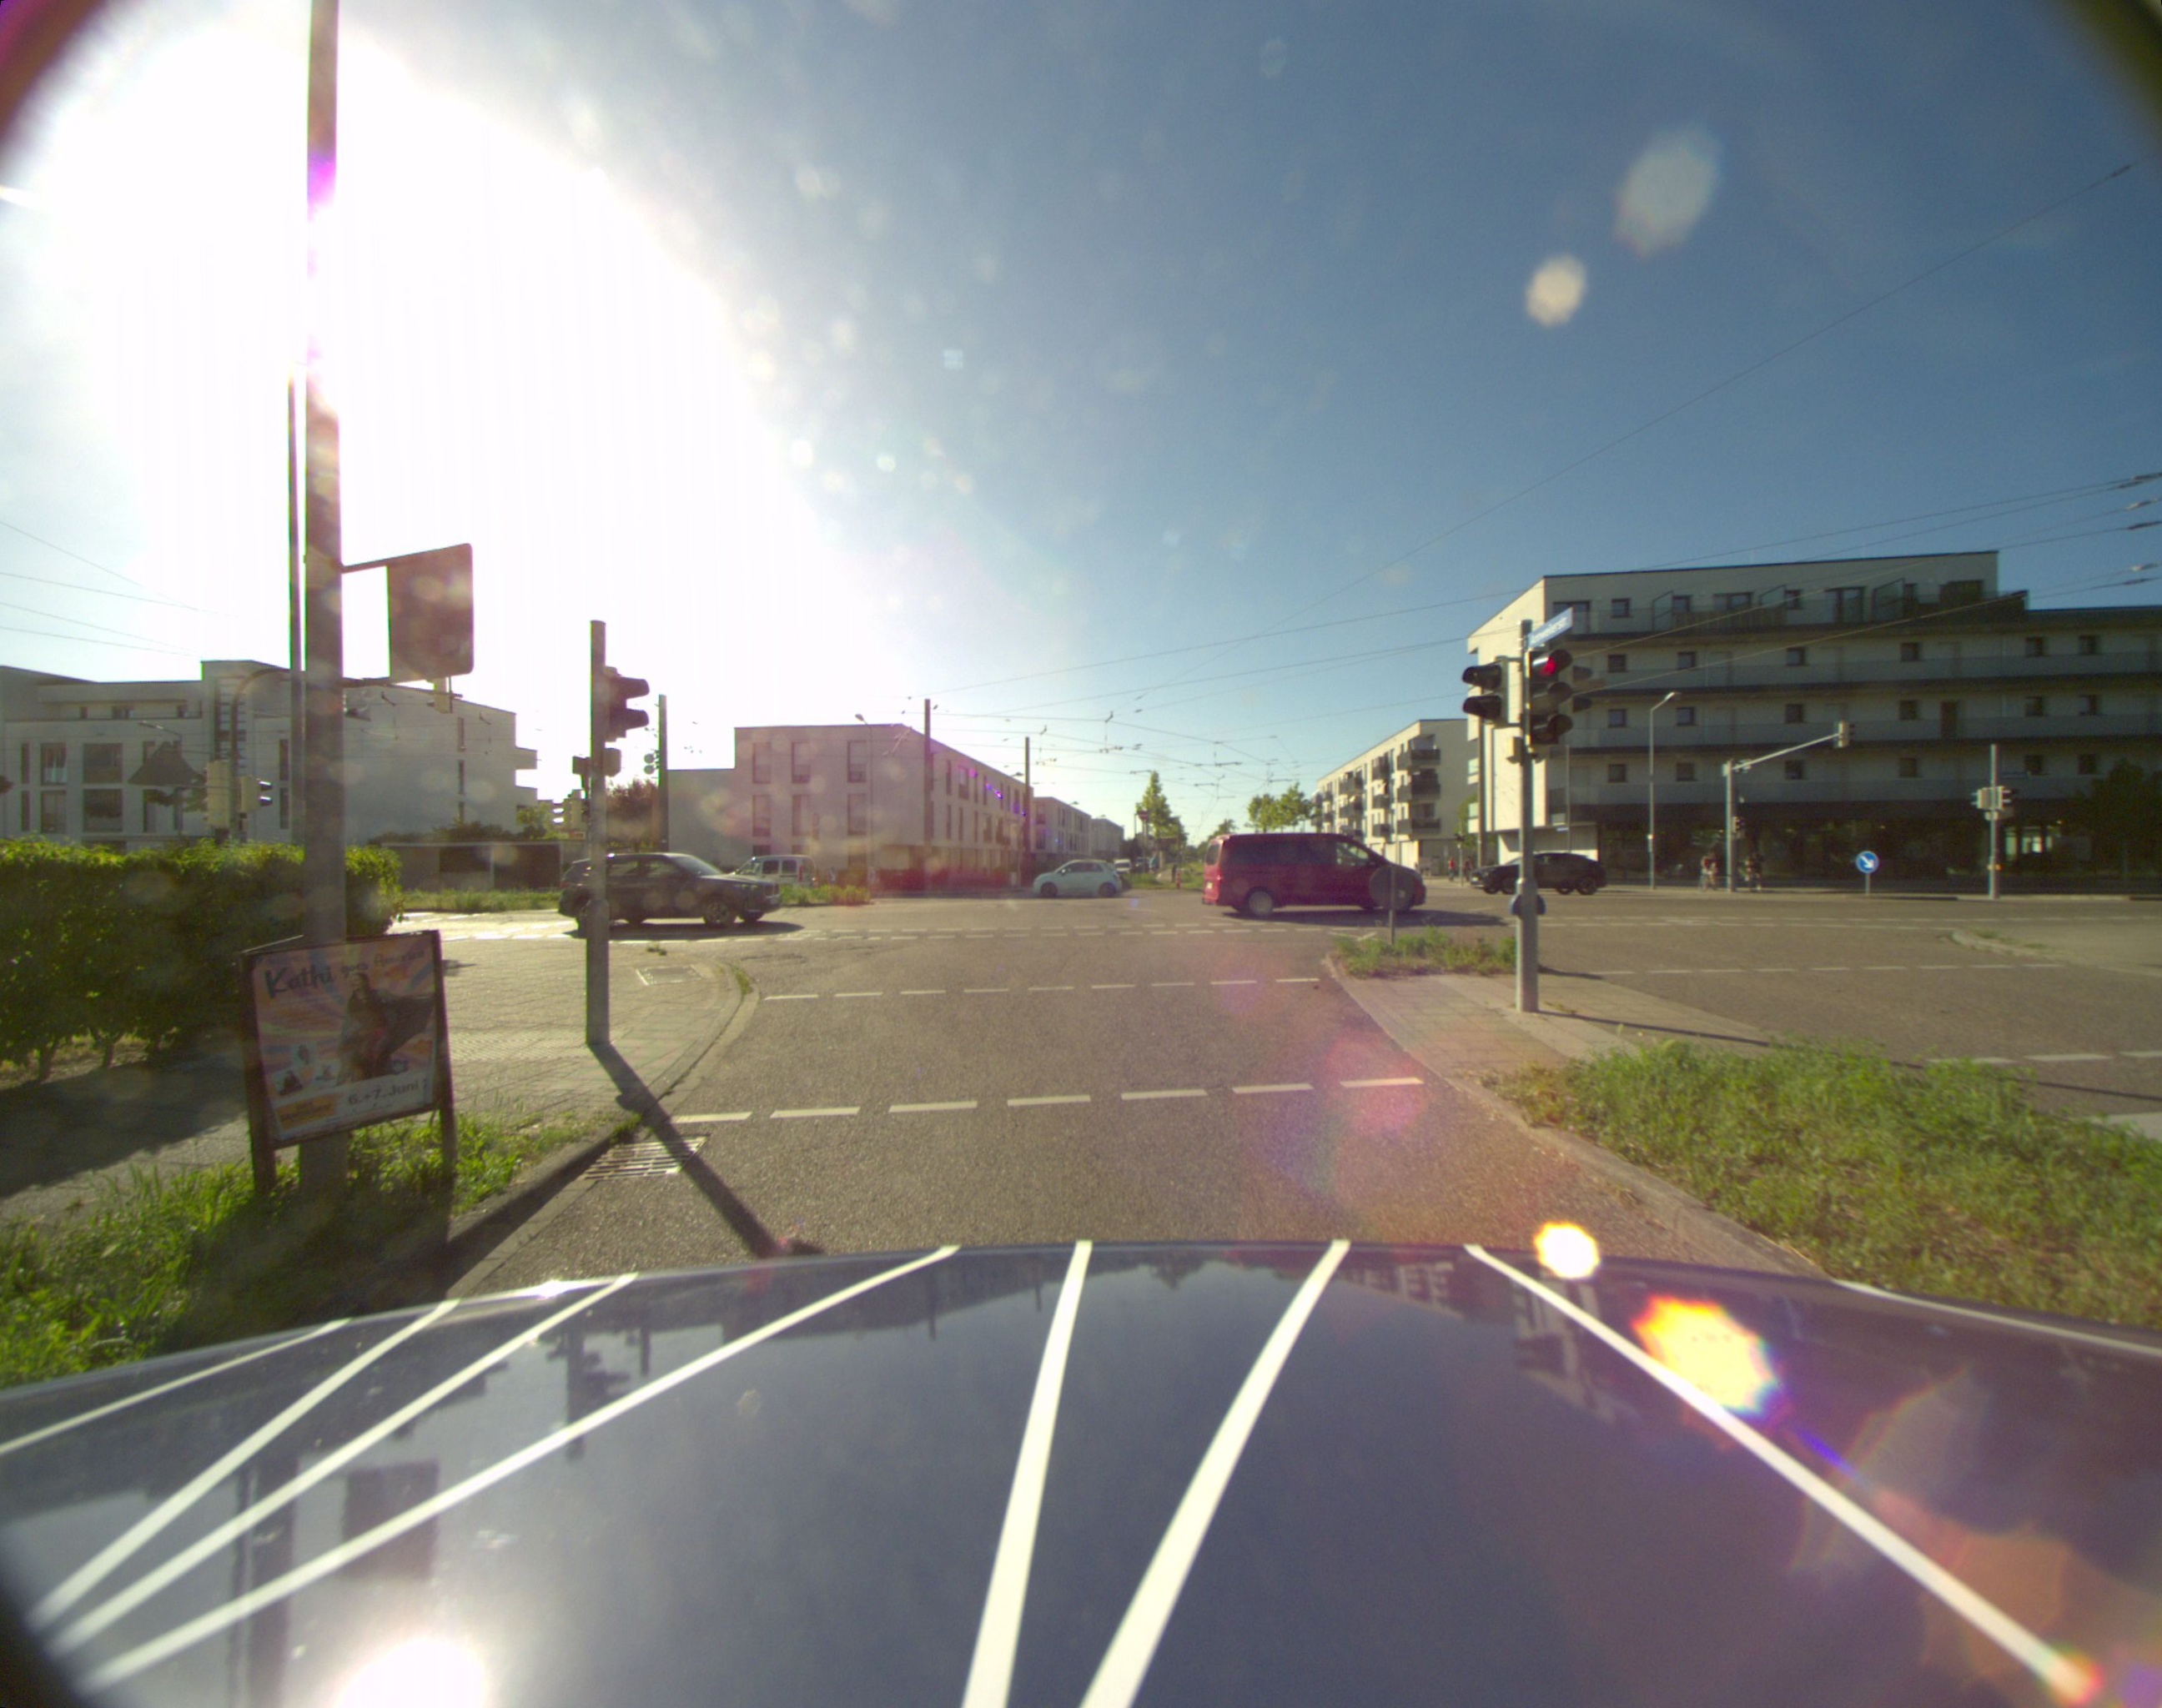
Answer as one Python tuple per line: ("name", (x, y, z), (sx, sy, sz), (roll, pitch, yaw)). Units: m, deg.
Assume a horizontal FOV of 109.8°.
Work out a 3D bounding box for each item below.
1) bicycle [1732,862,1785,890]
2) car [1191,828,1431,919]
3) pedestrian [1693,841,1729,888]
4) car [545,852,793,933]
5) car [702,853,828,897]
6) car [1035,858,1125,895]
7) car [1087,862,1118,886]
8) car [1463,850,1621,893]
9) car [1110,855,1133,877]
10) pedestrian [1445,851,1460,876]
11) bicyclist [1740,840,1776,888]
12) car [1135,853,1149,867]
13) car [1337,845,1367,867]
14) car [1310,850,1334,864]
("bicycle", (28.471, 0.918, 31.963), (0.744, 1.137, 1.642), (0, 0, -3))
("car", (5.344, 0.401, 18.148), (5.081, 1.958, 2.128), (-1, 2, -2))
("pedestrian", (27.083, 0.457, 32.683), (0.760, 2.002, 0.980), (0, 0, 3))
("car", (-8.996, 0.811, 16.909), (4.405, 1.663, 1.999), (0, 2, 0))
("car", (-12.962, 0.858, 31.324), (4.356, 1.745, 2.001), (0, 0, 6))
("car", (0.020, 0.924, 30.917), (3.540, 1.478, 2.001), (0, -2, 4))
("car", (1.621, 1.444, 55.787), (2.007, 1.655, 4.002), (-1, 0, 6))
("car", (17.404, 0.654, 28.932), (4.732, 1.525, 1.975), (0, 0, 12))
("car", (3.809, 1.108, 71.015), (1.997, 2.002, 4.002), (0, 0, 6))
("pedestrian", (24.553, 0.619, 50.200), (0.751, 1.677, 0.575), (0, 2, 8))
("bicyclist", (28.461, 0.426, 31.966), (0.811, 2.002, 0.795), (0, 0, -4))
("car", (8.883, 0.869, 110.626), (1.998, 2.002, 4.001), (-1, 0, 4))
("car", (26.030, 0.147, 73.083), (1.997, 2.002, 4.002), (0, 2, 10))
("car", (28.222, 0.327, 89.065), (1.997, 1.544, 4.001), (0, 2, 8))
